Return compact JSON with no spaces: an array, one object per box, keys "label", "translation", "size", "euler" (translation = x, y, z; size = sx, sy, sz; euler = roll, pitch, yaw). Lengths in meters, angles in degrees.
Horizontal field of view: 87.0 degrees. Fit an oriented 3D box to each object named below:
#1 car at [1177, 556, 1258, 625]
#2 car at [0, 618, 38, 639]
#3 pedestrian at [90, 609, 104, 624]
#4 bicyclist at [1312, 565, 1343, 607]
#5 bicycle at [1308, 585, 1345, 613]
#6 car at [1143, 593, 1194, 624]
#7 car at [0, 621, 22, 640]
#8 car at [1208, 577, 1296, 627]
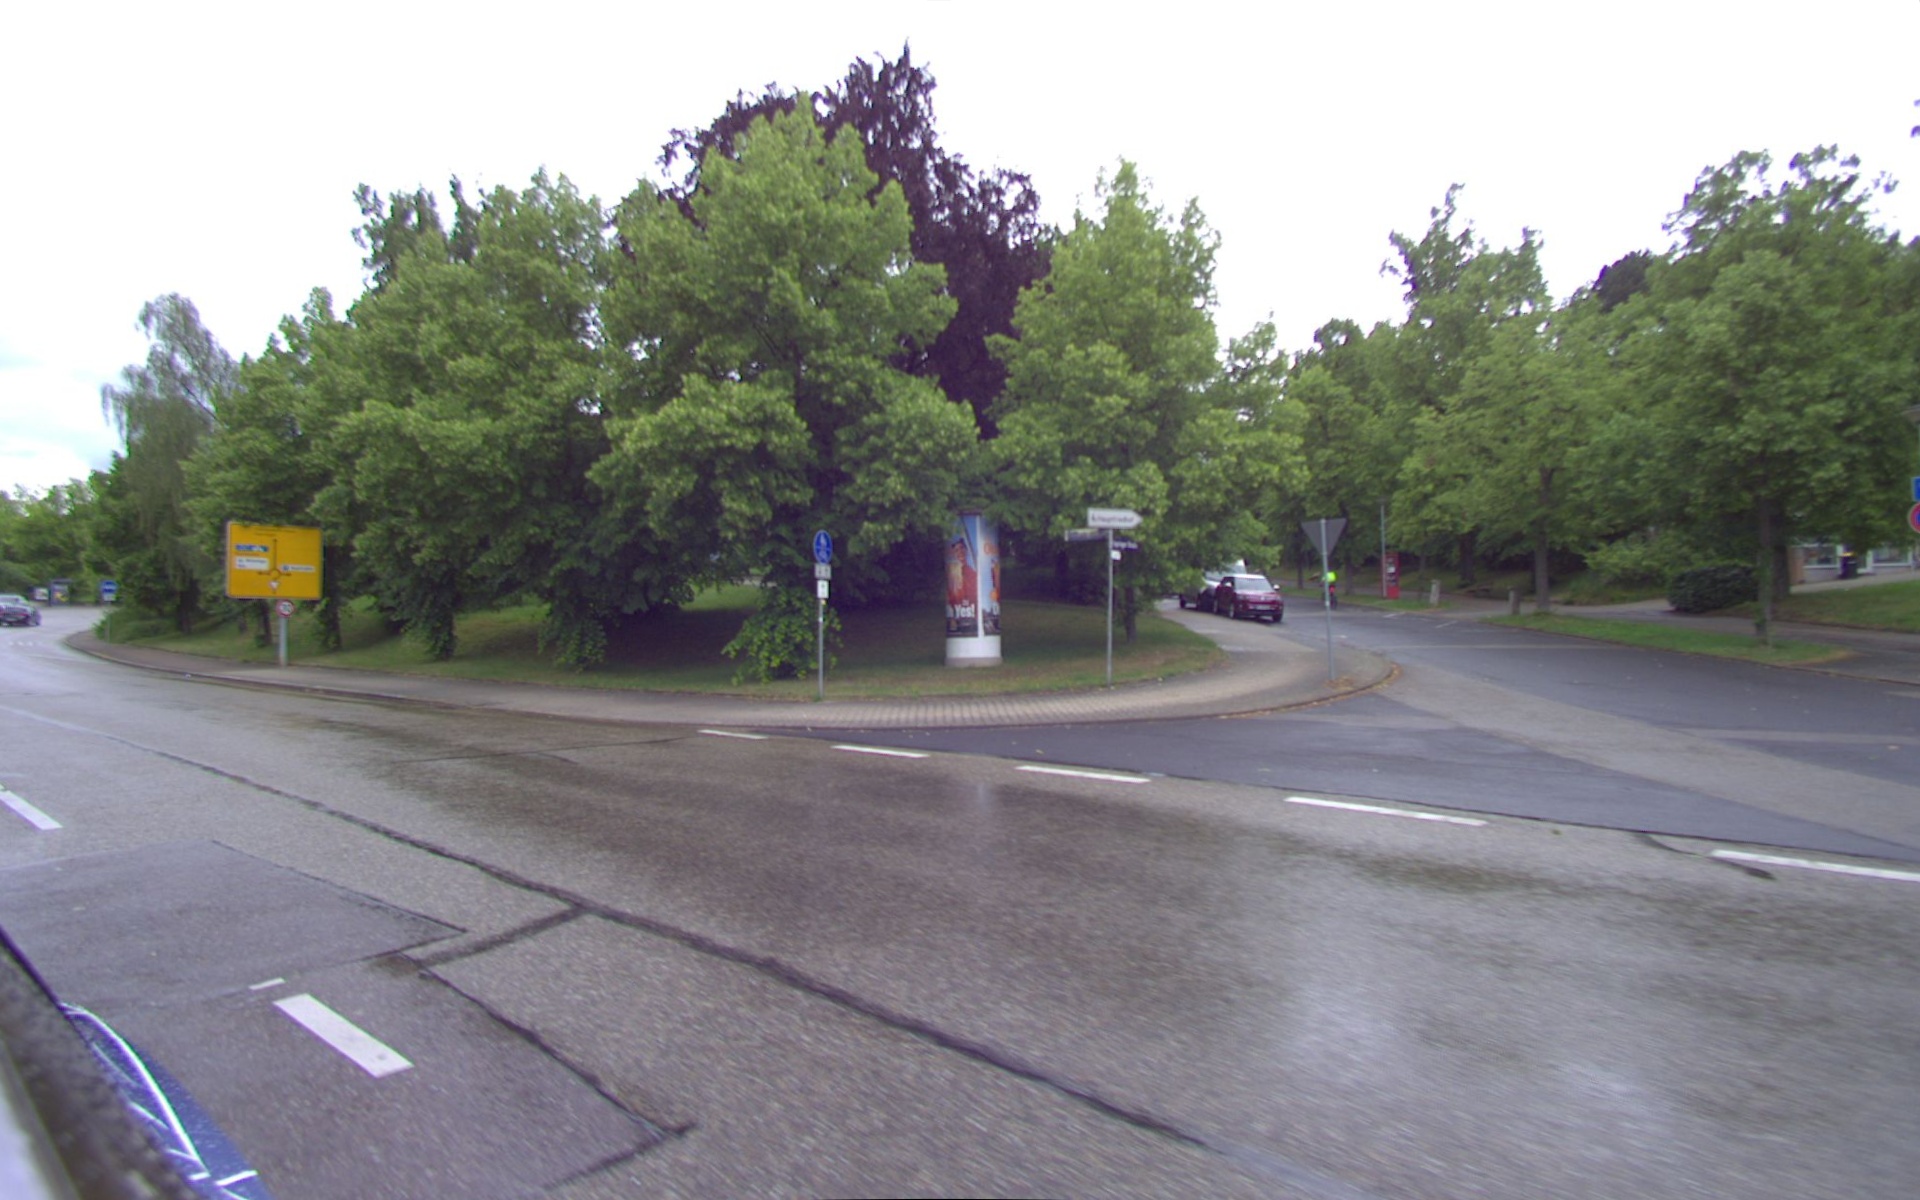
[{"label":"car","translation":[10.784,-0.340,42.804],"size":[2.129,2.720,5.666],"euler":[-1,-1,2]},{"label":"car","translation":[-67.266,2.030,71.923],"size":[1.697,1.394,4.152],"euler":[3,-4,-30]},{"label":"pedestrian","translation":[-95.580,1.806,112.042],"size":[0.912,1.667,1.101],"euler":[2,-2,-27]},{"label":"bicyclist","translation":[15.872,-0.586,43.741],"size":[0.842,1.769,1.286],"euler":[1,-1,-1]},{"label":"bicycle","translation":[15.862,-0.035,43.836],"size":[0.842,1.164,2.038],"euler":[1,-1,-1]},{"label":"car","translation":[11.770,0.498,57.359],"size":[1.800,1.681,4.003],"euler":[-1,-1,-3]},{"label":"car","translation":[-78.818,2.504,82.775],"size":[1.831,1.426,4.400],"euler":[1,-3,-26]},{"label":"car","translation":[10.671,0.092,37.289],"size":[1.949,1.681,4.001],"euler":[-1,-1,-2]}]
